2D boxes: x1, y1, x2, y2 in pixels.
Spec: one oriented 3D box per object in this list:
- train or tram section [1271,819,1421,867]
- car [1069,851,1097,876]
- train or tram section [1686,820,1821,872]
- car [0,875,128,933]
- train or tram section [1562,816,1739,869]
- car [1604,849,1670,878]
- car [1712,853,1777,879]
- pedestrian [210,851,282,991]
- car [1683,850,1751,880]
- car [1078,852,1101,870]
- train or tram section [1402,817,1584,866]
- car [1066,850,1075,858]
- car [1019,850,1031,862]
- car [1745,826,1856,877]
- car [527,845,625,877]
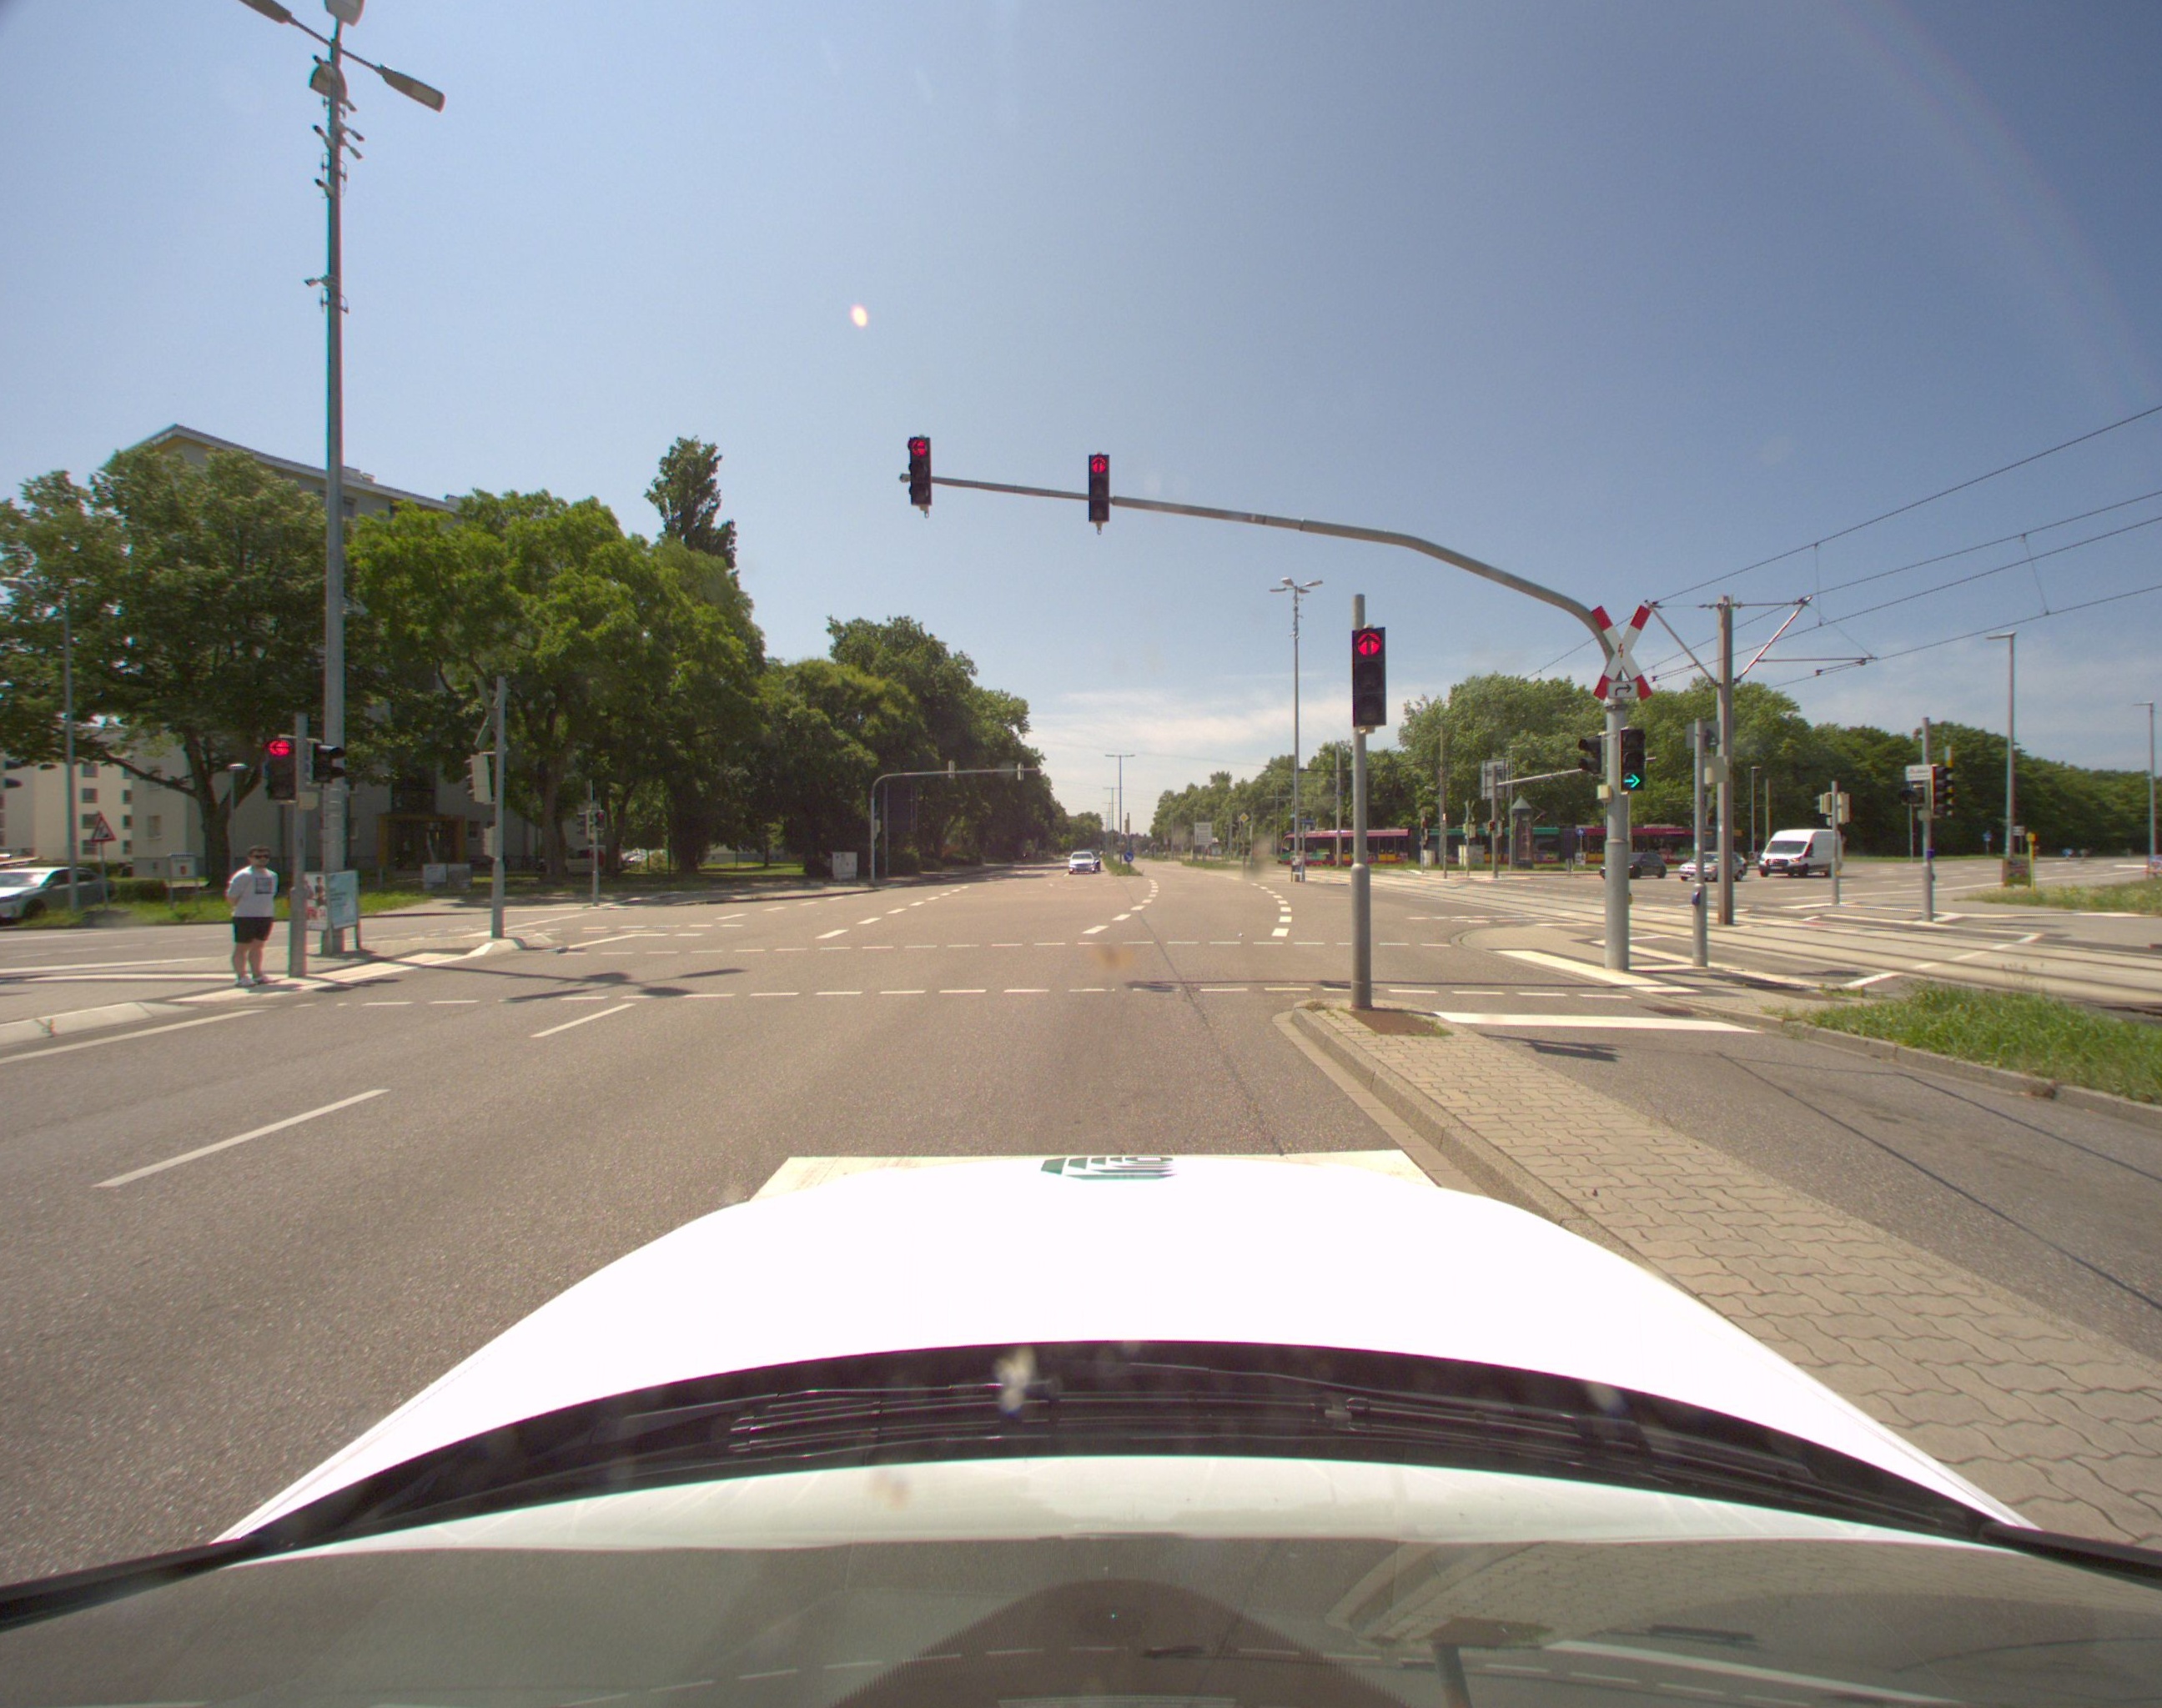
[{"bbox_3d":[23.841,-0.826,74.193,12.909,3.812,2.941,-2,-4,43],"label":"train or tram section"},{"bbox_3d":[0.168,0.610,54.844,1.778,1.628,3.867,0,0,2],"label":"car"},{"bbox_3d":[58.863,-0.558,71.154,13.975,3.920,2.901,2,-3,-23],"label":"train or tram section"},{"bbox_3d":[-29.165,1.325,22.664,1.629,1.380,3.973,1,0,-20],"label":"car"},{"bbox_3d":[47.264,-0.877,67.674,13.993,3.920,2.914,1,-3,-9],"label":"train or tram section"},{"bbox_3d":[29.912,0.490,43.810,3.519,1.463,1.624,0,0,-30],"label":"car"},{"bbox_3d":[40.380,0.698,49.532,4.507,1.463,1.624,0,0,-30],"label":"car"},{"bbox_3d":[-10.315,0.806,10.065,0.381,1.687,0.485,0,0,-2],"label":"pedestrian"},{"bbox_3d":[32.160,0.534,41.153,3.821,1.463,1.623,0,0,-34],"label":"car"},{"bbox_3d":[0.680,0.514,62.095,1.704,1.365,3.867,0,0,2],"label":"car"},{"bbox_3d":[34.092,-0.977,68.118,13.308,3.812,2.936,0,-3,17],"label":"train or tram section"},{"bbox_3d":[-2.127,0.023,163.614,1.665,1.490,3.712,0,0,2],"label":"car"},{"bbox_3d":[-9.990,0.388,145.652,1.988,2.014,3.997,3,0,-2],"label":"car"},{"bbox_3d":[41.570,-0.163,46.981,7.306,2.802,2.691,0,0,-31],"label":"car"},{"bbox_3d":[-29.633,0.391,47.854,1.769,1.768,4.577,0,0,41],"label":"car"}]
